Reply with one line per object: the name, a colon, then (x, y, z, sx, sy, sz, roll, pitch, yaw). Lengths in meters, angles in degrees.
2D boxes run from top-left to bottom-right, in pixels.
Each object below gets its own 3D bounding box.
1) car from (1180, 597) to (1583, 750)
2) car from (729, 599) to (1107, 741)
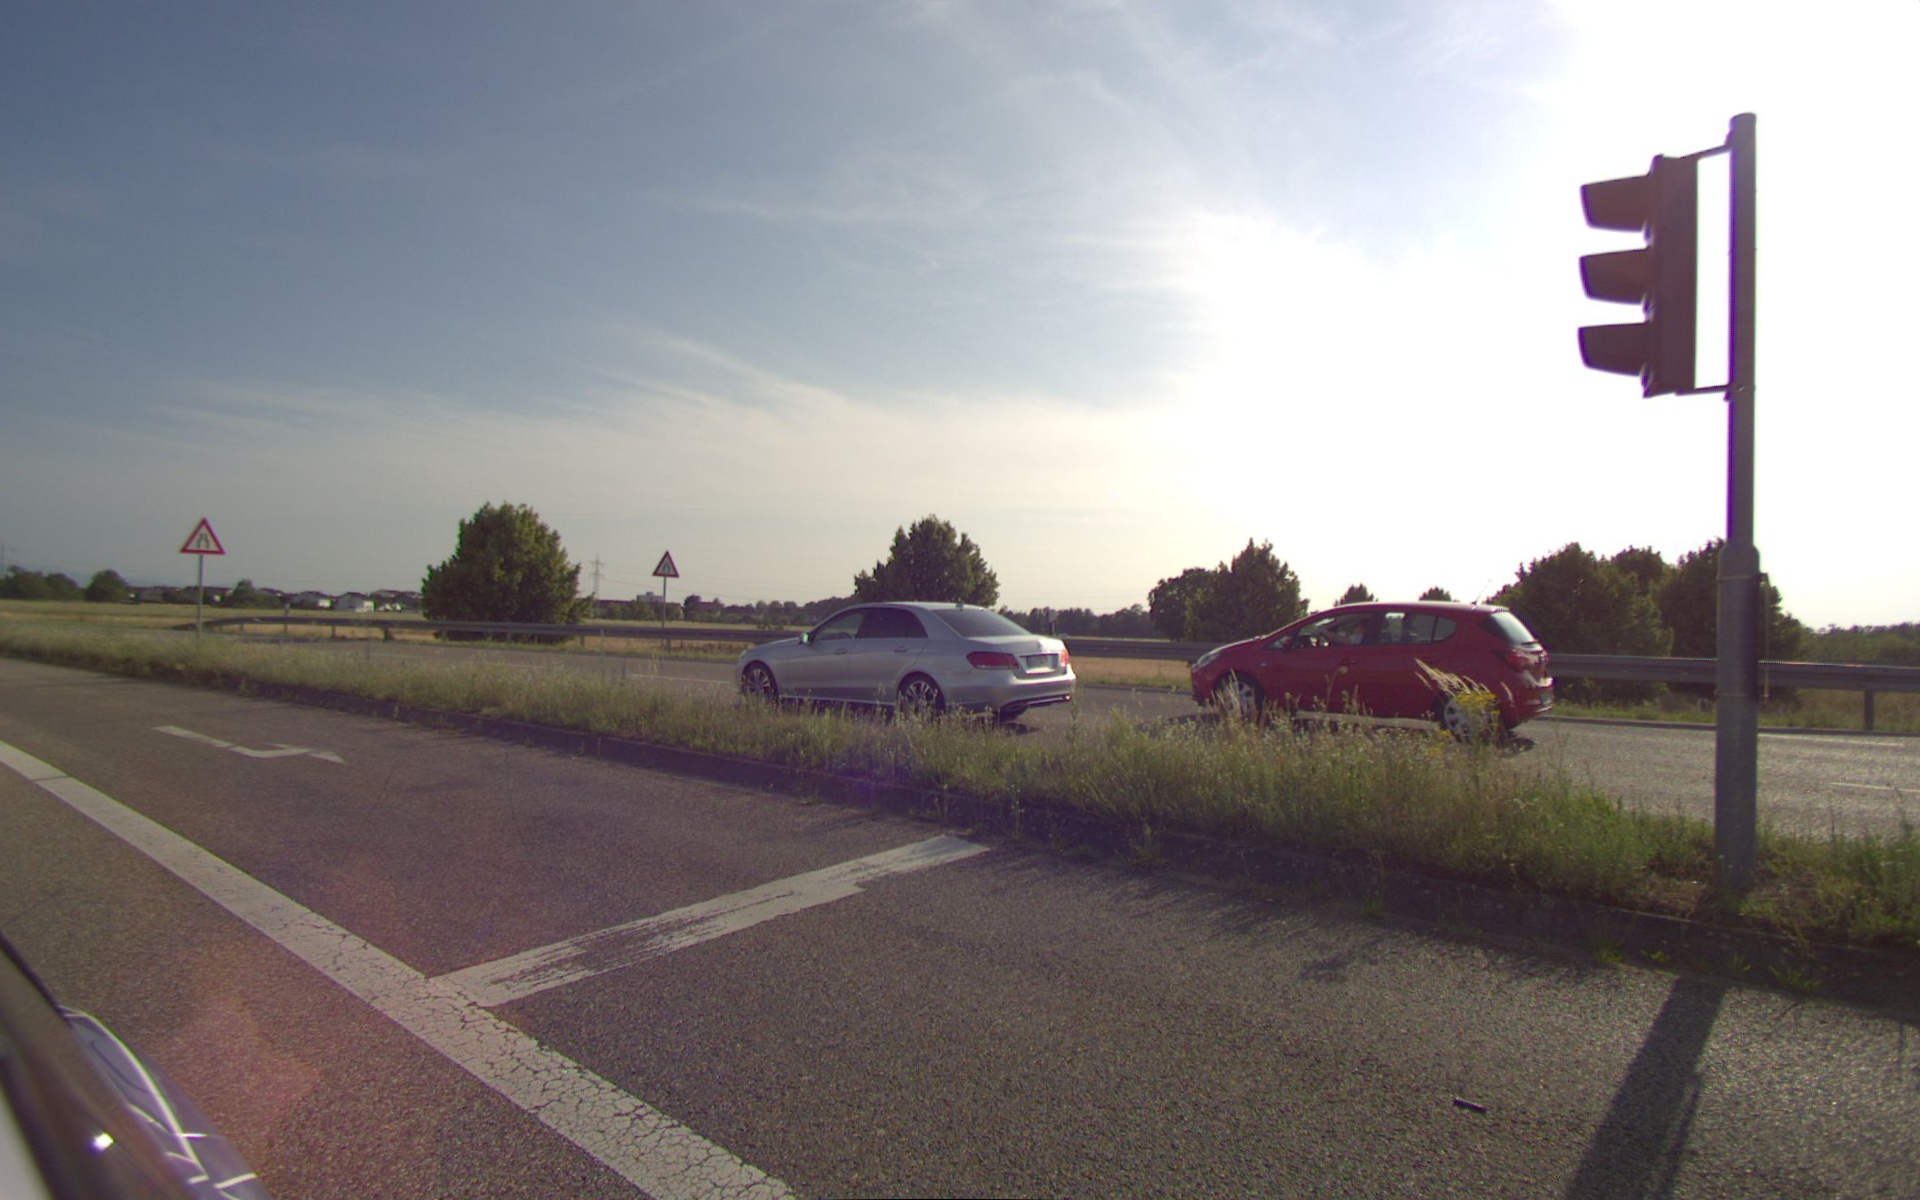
car: (4.758, 0.720, 11.736, 4.020, 1.478, 1.643, 0, -1, 40)
car: (-0.678, 0.731, 12.675, 4.698, 1.446, 1.907, 0, -1, 41)
